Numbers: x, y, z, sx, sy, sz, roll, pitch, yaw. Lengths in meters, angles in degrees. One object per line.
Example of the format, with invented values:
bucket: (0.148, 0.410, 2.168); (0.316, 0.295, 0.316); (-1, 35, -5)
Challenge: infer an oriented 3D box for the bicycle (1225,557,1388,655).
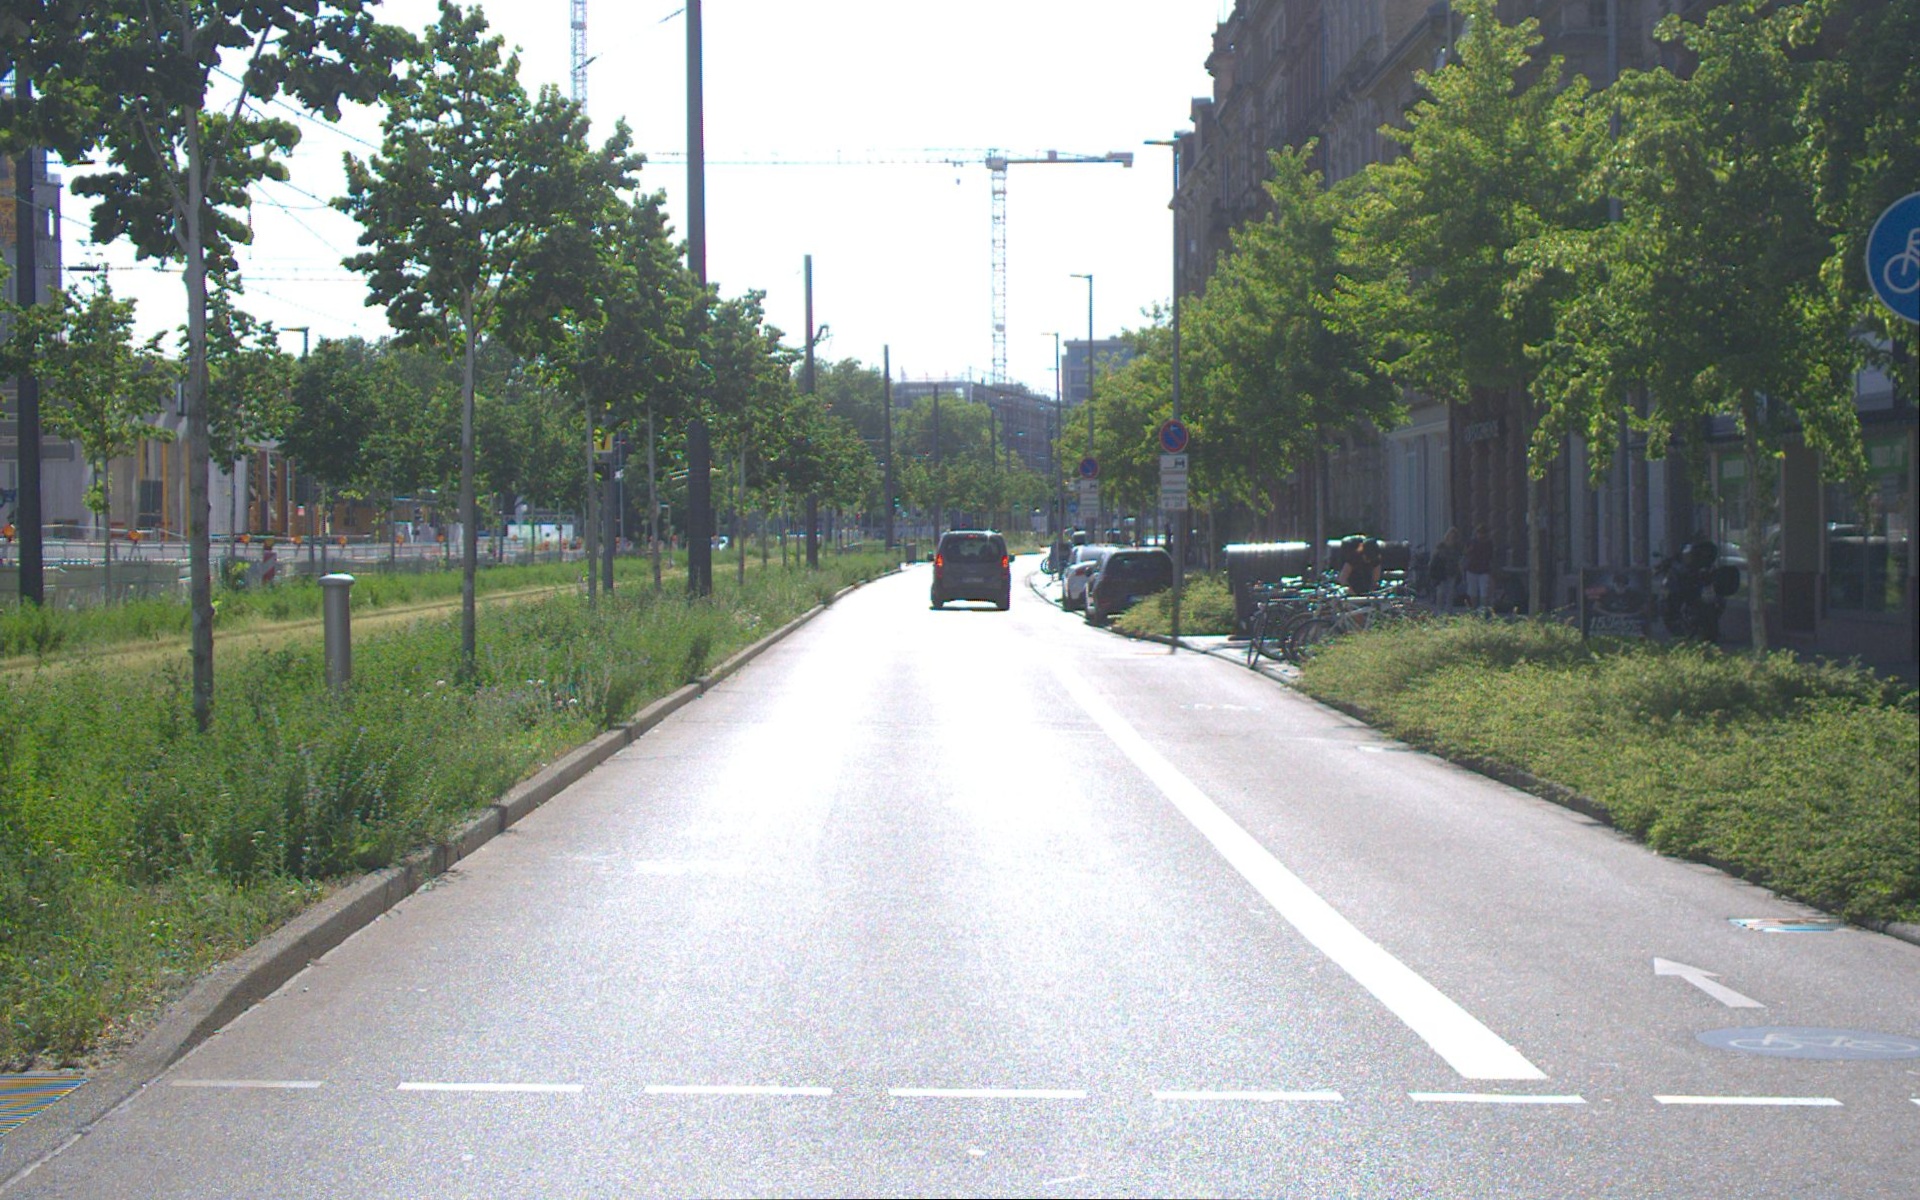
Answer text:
bicycle: (4.480, 0.073, 44.442); (1.974, 1.120, 0.482); (-4, 2, -5)

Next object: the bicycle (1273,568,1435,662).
bicycle: (4.709, 0.174, 41.097); (1.814, 1.052, 0.572); (-2, 1, -6)

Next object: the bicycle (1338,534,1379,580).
bicycle: (9.736, -1.057, 84.075); (0.721, 1.086, 2.198); (-1, 1, 0)

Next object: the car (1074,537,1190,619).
car: (3.340, -0.440, 67.564); (1.765, 1.472, 4.449); (-3, 1, -3)

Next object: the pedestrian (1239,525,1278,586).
pedestrian: (8.569, -1.288, 98.682); (0.996, 1.725, 0.866); (1, 0, 0)

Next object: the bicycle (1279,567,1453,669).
bicycle: (4.678, 0.204, 39.625); (1.891, 1.105, 0.518); (-2, 1, -5)

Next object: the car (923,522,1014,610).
car: (0.179, -0.799, 80.843); (1.993, 2.007, 4.000); (1, 1, -2)

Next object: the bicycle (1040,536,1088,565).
bicycle: (4.210, -2.002, 139.164); (1.824, 1.075, 0.665); (-3, 1, -6)

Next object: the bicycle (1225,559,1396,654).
bicycle: (4.489, 0.075, 44.034); (2.043, 1.103, 0.611); (-3, 1, -6)

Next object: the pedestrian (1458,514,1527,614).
pedestrian: (8.990, -0.609, 58.056); (0.971, 1.633, 0.992); (-1, 2, 0)

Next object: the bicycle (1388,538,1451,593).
bicycle: (9.736, -0.742, 72.891); (0.875, 1.101, 2.182); (-3, 1, -3)

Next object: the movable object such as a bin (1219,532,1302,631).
movable object such as a bin: (4.776, -0.305, 54.685); (1.271, 1.458, 1.644); (1, 3, 4)

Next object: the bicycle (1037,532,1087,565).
bicycle: (4.083, -2.050, 137.628); (1.878, 1.229, 0.500); (-3, 1, -5)

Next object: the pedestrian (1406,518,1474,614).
pedestrian: (8.087, -0.580, 57.962); (0.950, 1.561, 1.080); (-1, 2, -1)

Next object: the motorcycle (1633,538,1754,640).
motorcycle: (9.443, -0.150, 44.376); (0.866, 1.262, 2.982); (1, 1, -1)

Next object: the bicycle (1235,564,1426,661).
bicycle: (4.591, 0.152, 42.606); (2.284, 1.098, 0.486); (-2, 1, -14)

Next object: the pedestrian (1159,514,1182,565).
pedestrian: (8.423, -2.428, 137.669); (0.817, 2.007, 1.046); (1, -1, 0)

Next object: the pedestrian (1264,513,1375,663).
pedestrian: (4.295, -0.141, 41.132); (0.899, 1.730, 0.849); (-4, 1, -26)

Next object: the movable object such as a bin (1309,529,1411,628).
movable object such as a bin: (6.372, -0.340, 54.858); (1.373, 1.490, 1.749); (-3, 0, 1)

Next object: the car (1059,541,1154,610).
car: (3.383, -0.593, 80.271); (1.951, 1.490, 5.105); (-2, 1, 0)

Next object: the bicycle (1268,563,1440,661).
bicycle: (4.749, 0.138, 41.440); (1.977, 1.104, 0.435); (-2, 1, -3)

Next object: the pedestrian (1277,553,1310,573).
pedestrian: (9.781, -1.092, 100.852); (0.773, 0.551, 2.008); (-1, 2, 0)

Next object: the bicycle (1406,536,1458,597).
bicycle: (9.579, -0.680, 69.826); (0.748, 1.197, 1.801); (-1, 1, 0)
